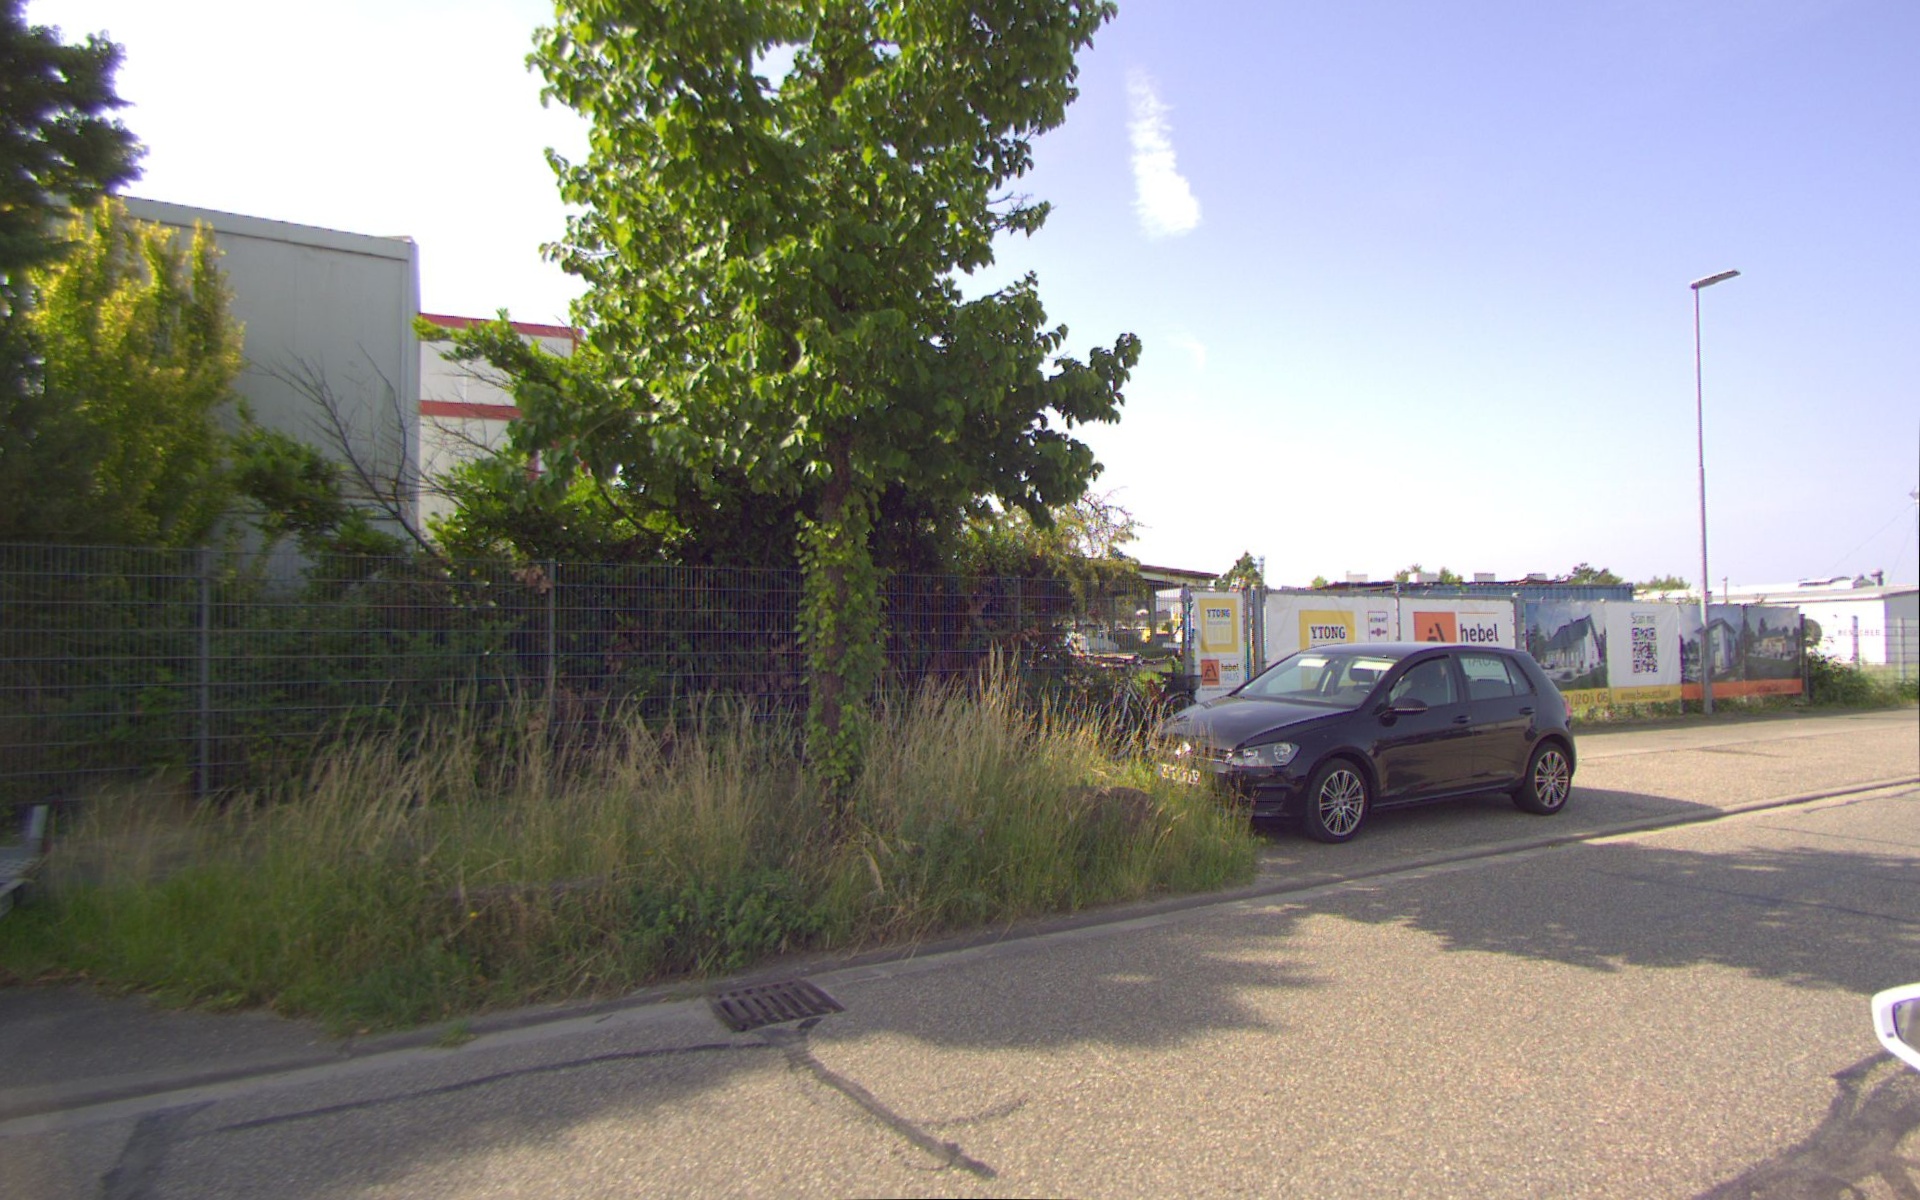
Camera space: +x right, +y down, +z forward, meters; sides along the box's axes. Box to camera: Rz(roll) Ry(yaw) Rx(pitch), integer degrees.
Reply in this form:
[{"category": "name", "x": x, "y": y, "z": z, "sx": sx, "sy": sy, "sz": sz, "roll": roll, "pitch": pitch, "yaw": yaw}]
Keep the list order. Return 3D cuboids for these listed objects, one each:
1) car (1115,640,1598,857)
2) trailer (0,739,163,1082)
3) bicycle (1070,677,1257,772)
[{"category": "car", "x": 3.475, "y": 1.106, "z": 8.694, "sx": 4.042, "sy": 1.489, "sz": 1.681, "roll": 1, "pitch": -3, "yaw": -28}, {"category": "trailer", "x": -6.625, "y": 1.189, "z": 3.086, "sx": 6.170, "sy": 0.998, "sz": 2.637, "roll": 1, "pitch": -3, "yaw": -30}, {"category": "bicycle", "x": 2.461, "y": 1.451, "z": 11.998, "sx": 2.424, "sy": 0.985, "sz": 0.559, "roll": 1, "pitch": -3, "yaw": -31}]
